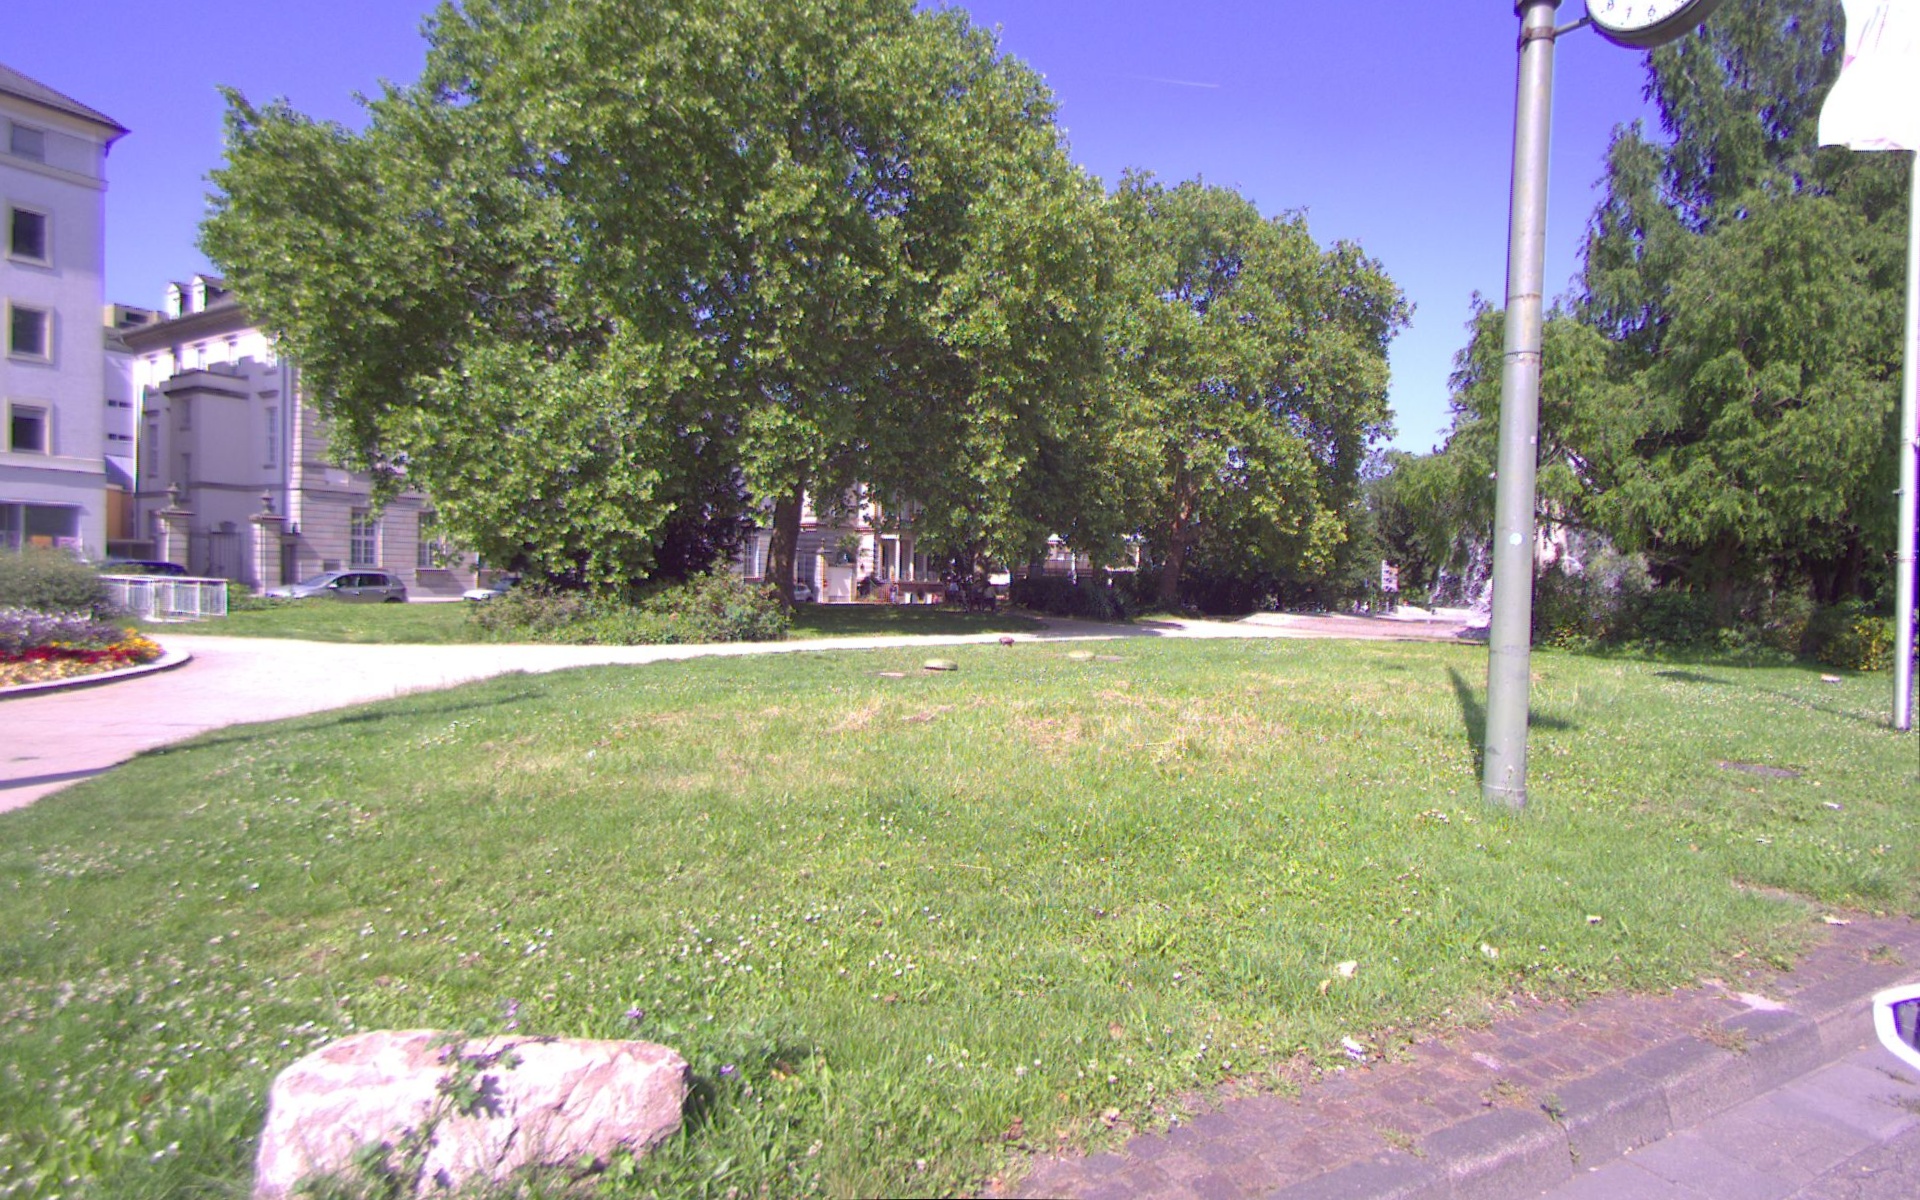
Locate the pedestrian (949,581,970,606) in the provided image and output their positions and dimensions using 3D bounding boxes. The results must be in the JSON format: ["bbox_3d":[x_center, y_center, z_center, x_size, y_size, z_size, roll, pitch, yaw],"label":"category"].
[{"bbox_3d":[-0.032,-0.345,51.402,1.038,1.242,0.756,2,2,0],"label":"pedestrian"}]

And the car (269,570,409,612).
[{"bbox_3d":[-20.281,-0.295,32.911,1.583,1.286,3.577,3,2,31],"label":"car"}]

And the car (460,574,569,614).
[{"bbox_3d":[-17.091,-0.239,38.652,1.583,1.398,3.577,3,2,31],"label":"car"}]

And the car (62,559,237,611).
[{"bbox_3d":[-23.079,-0.427,28.709,1.583,1.364,3.577,3,2,31],"label":"car"}]

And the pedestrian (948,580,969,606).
[{"bbox_3d":[-0.068,-0.345,50.565,1.038,1.242,0.756,2,2,0],"label":"pedestrian"}]

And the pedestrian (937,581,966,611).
[{"bbox_3d":[-0.361,-0.182,42.533,1.042,1.242,0.753,1,2,-18],"label":"pedestrian"}]

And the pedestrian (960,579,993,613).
[{"bbox_3d":[0.624,-0.147,37.727,1.042,1.242,0.753,1,2,-18],"label":"pedestrian"}]

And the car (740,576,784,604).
[{"bbox_3d":[-13.970,-0.679,70.905,1.841,1.824,4.002,2,0,7],"label":"car"}]

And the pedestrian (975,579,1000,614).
[{"bbox_3d":[1.016,-0.139,37.108,0.660,1.242,0.753,1,2,-18],"label":"pedestrian"}]
